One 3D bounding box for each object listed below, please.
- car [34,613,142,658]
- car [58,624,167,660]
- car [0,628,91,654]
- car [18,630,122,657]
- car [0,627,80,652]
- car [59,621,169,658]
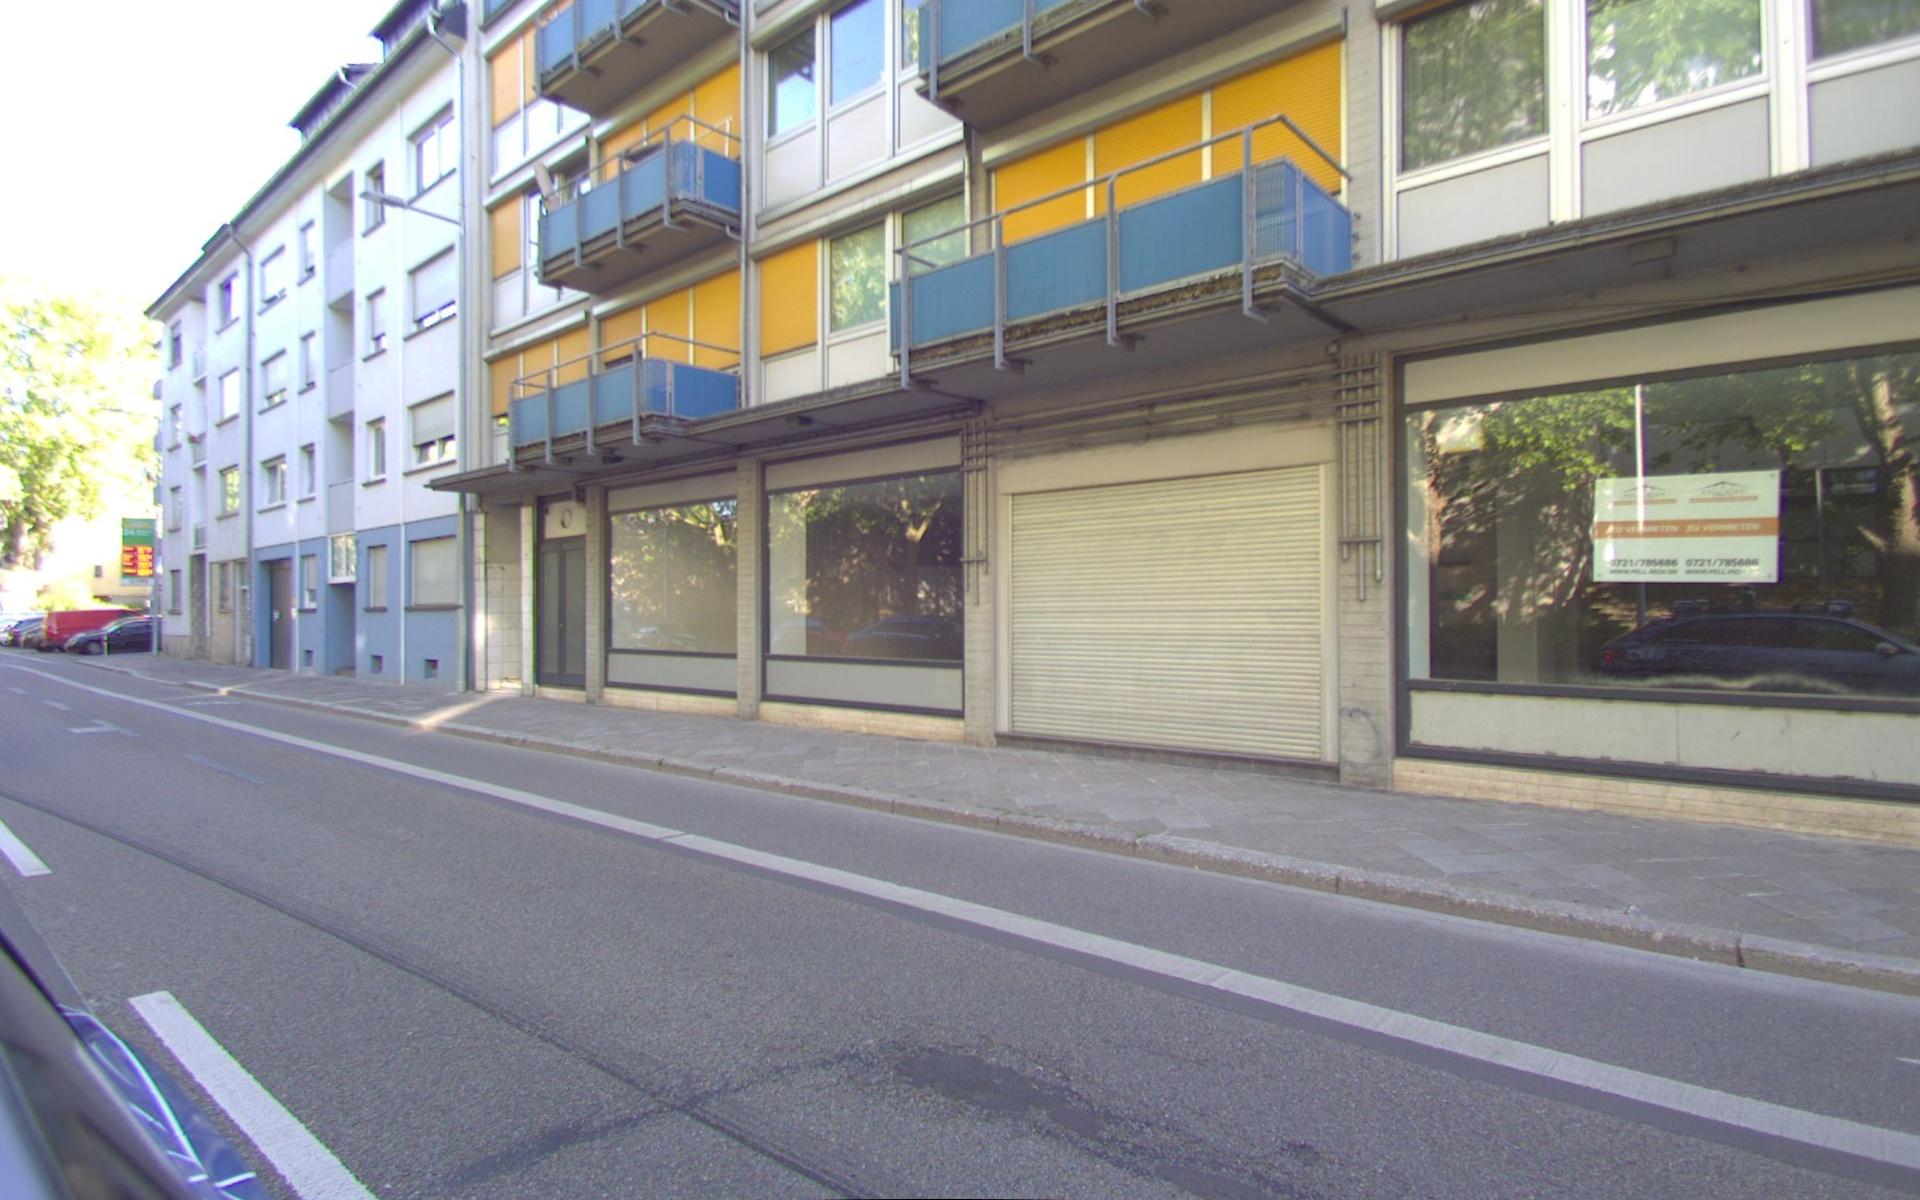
[{"bbox_3d":[-40.638,1.636,47.218,1.488,1.923,3.642,-4,-2,39],"label":"car"},{"bbox_3d":[-36.663,1.799,43.838,1.490,1.398,3.462,-1,0,43],"label":"car"},{"bbox_3d":[-50.432,2.229,55.870,1.345,1.254,3.638,-1,0,43],"label":"car"},{"bbox_3d":[-42.800,2.062,48.733,1.345,1.137,3.638,-1,0,43],"label":"car"},{"bbox_3d":[-52.246,2.237,57.499,1.345,1.254,3.228,-1,0,43],"label":"car"},{"bbox_3d":[-38.179,1.756,45.718,1.490,1.523,3.638,-1,0,43],"label":"car"}]
